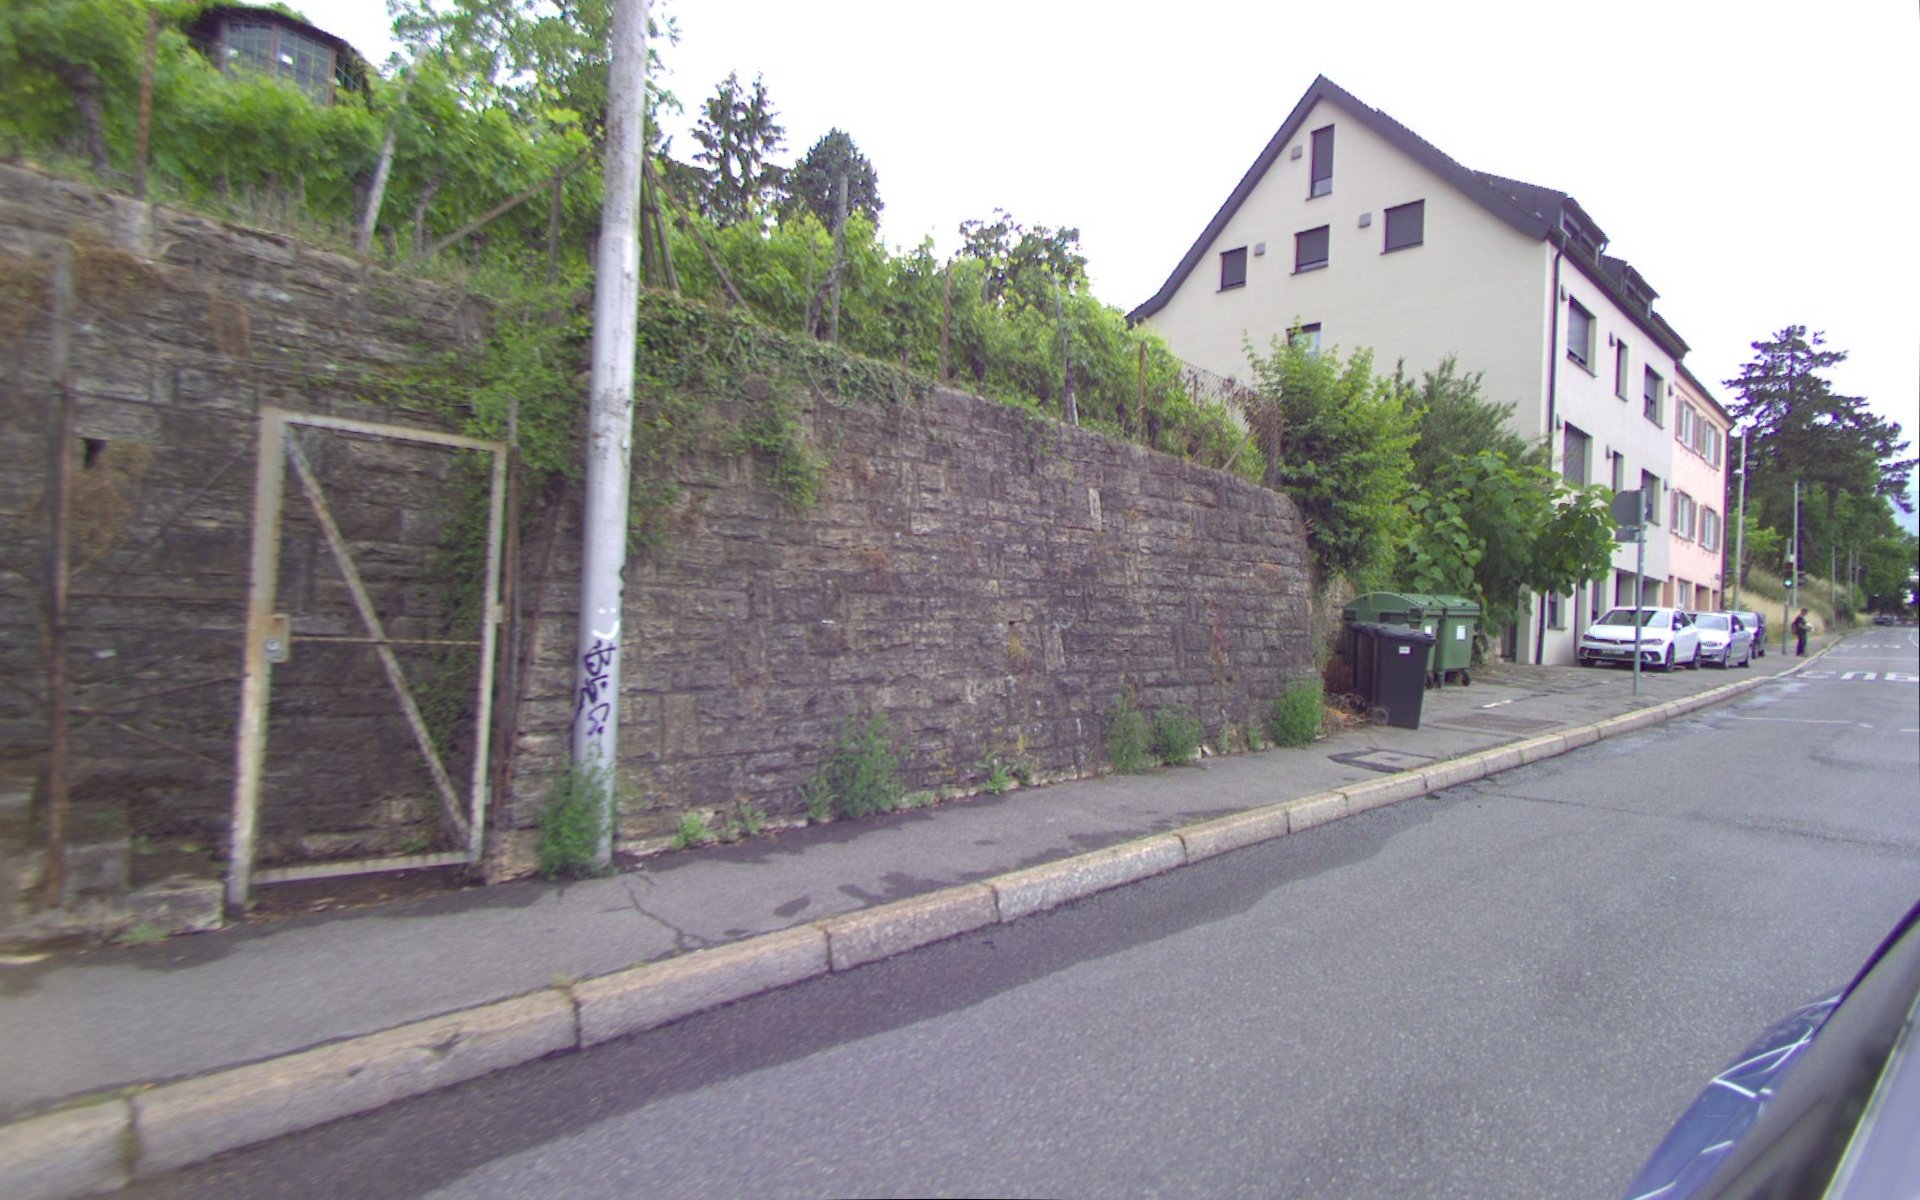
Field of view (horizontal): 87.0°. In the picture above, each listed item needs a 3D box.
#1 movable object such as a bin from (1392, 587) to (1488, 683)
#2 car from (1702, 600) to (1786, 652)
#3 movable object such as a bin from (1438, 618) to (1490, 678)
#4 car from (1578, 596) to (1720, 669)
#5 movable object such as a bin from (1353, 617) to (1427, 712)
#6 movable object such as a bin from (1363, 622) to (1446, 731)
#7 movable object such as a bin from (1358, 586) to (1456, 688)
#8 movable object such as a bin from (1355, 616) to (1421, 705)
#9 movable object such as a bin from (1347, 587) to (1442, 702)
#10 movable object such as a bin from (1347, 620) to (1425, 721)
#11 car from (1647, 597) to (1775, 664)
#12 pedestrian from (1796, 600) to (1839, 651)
[{"bbox_3d":[7.800,0.542,16.451,1.185,1.462,1.048,0,1,-45],"label":"movable object such as a bin"},{"bbox_3d":[25.801,0.808,33.254,1.683,1.468,3.936,7,5,44],"label":"car"},{"bbox_3d":[8.515,0.798,17.103,0.630,0.954,0.594,0,1,-45],"label":"movable object such as a bin"},{"bbox_3d":[15.938,0.696,23.340,3.936,1.440,1.797,1,3,-42],"label":"car"},{"bbox_3d":[5.256,0.768,12.359,0.738,1.072,0.672,2,1,29],"label":"movable object such as a bin"},{"bbox_3d":[4.794,0.794,10.905,0.738,1.072,0.672,2,1,29],"label":"movable object such as a bin"},{"bbox_3d":[6.887,0.539,15.582,1.047,1.462,1.187,2,1,42],"label":"movable object such as a bin"},{"bbox_3d":[5.502,0.760,12.994,0.705,1.072,0.541,2,1,29],"label":"movable object such as a bin"},{"bbox_3d":[5.996,0.563,13.920,1.042,1.462,1.404,2,1,29],"label":"movable object such as a bin"},{"bbox_3d":[4.944,0.791,11.735,0.738,1.072,0.672,2,1,29],"label":"movable object such as a bin"},{"bbox_3d":[19.806,0.780,26.603,4.637,1.468,1.798,2,4,-43],"label":"car"},{"bbox_3d":[29.989,0.869,35.412,0.872,1.716,0.874,0,2,-31],"label":"pedestrian"}]
